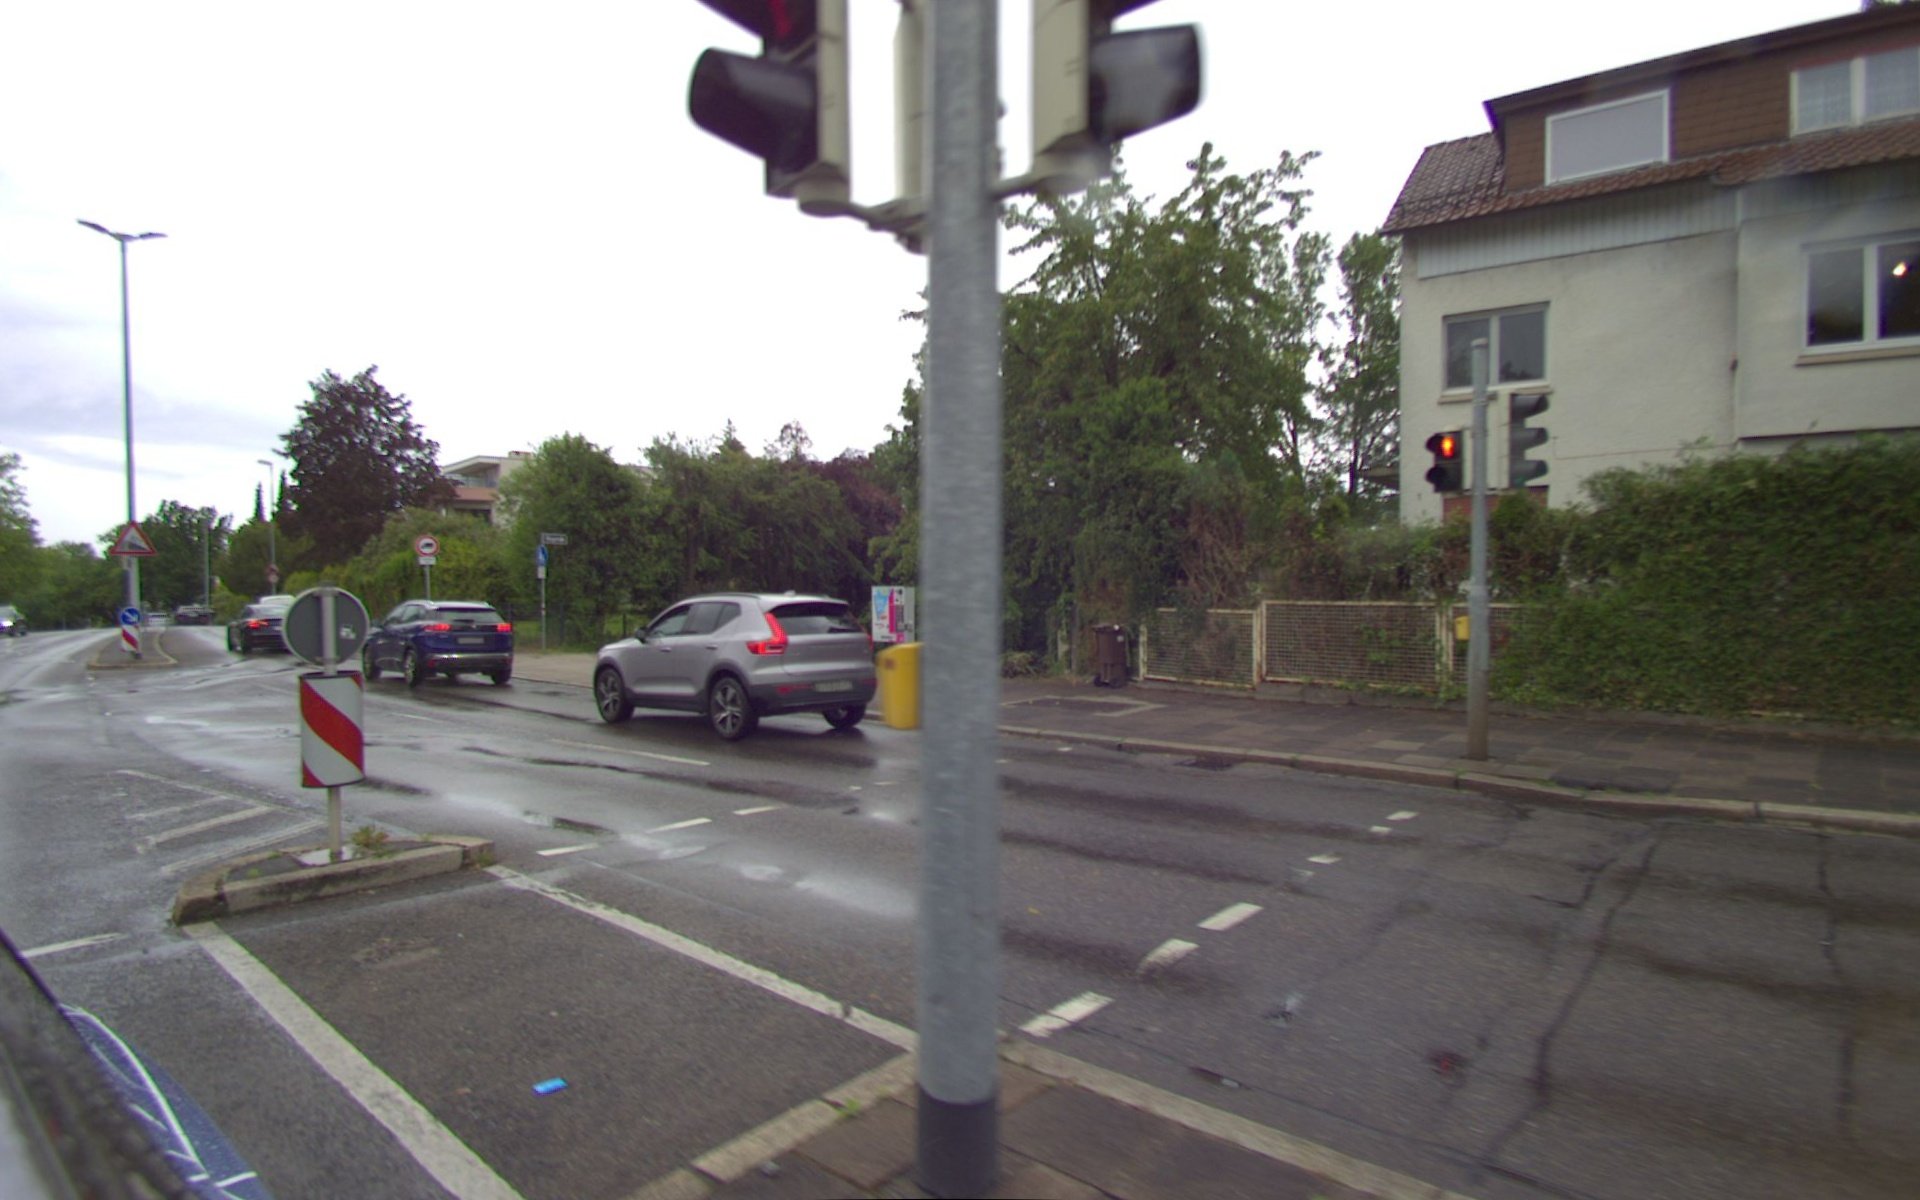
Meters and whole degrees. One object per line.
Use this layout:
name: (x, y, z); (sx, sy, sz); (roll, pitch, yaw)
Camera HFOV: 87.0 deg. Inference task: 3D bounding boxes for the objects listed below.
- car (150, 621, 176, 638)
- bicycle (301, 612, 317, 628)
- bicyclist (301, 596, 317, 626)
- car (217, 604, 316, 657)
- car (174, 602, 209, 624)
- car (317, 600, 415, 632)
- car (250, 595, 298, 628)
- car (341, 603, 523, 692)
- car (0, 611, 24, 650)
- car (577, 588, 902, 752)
car: (-72.831, 2.673, 92.465); (1.793, 1.467, 4.007); (0, 0, -40)
bicycle: (-36.654, 1.131, 57.005); (0.731, 0.857, 1.978); (-1, 0, -32)
bicyclist: (-36.617, 0.594, 56.926); (0.731, 1.659, 0.780); (-1, 0, -32)
car: (-21.276, 0.902, 30.977); (1.842, 1.487, 4.451); (2, -1, -43)
car: (-54.643, 0.923, 71.900); (1.793, 1.467, 4.007); (0, 0, -40)
car: (-28.838, 0.765, 49.197); (3.831, 1.467, 1.770); (0, 0, -42)
car: (-37.888, 0.602, 55.839); (1.793, 1.730, 4.007); (0, 0, -40)
car: (-10.685, 0.871, 20.324); (4.446, 1.565, 1.844); (0, -1, 43)
car: (-45.760, 1.419, 47.667); (1.967, 1.669, 4.236); (0, 0, -36)
car: (-2.853, 0.702, 12.561); (4.231, 1.690, 1.862); (1, 0, 43)
